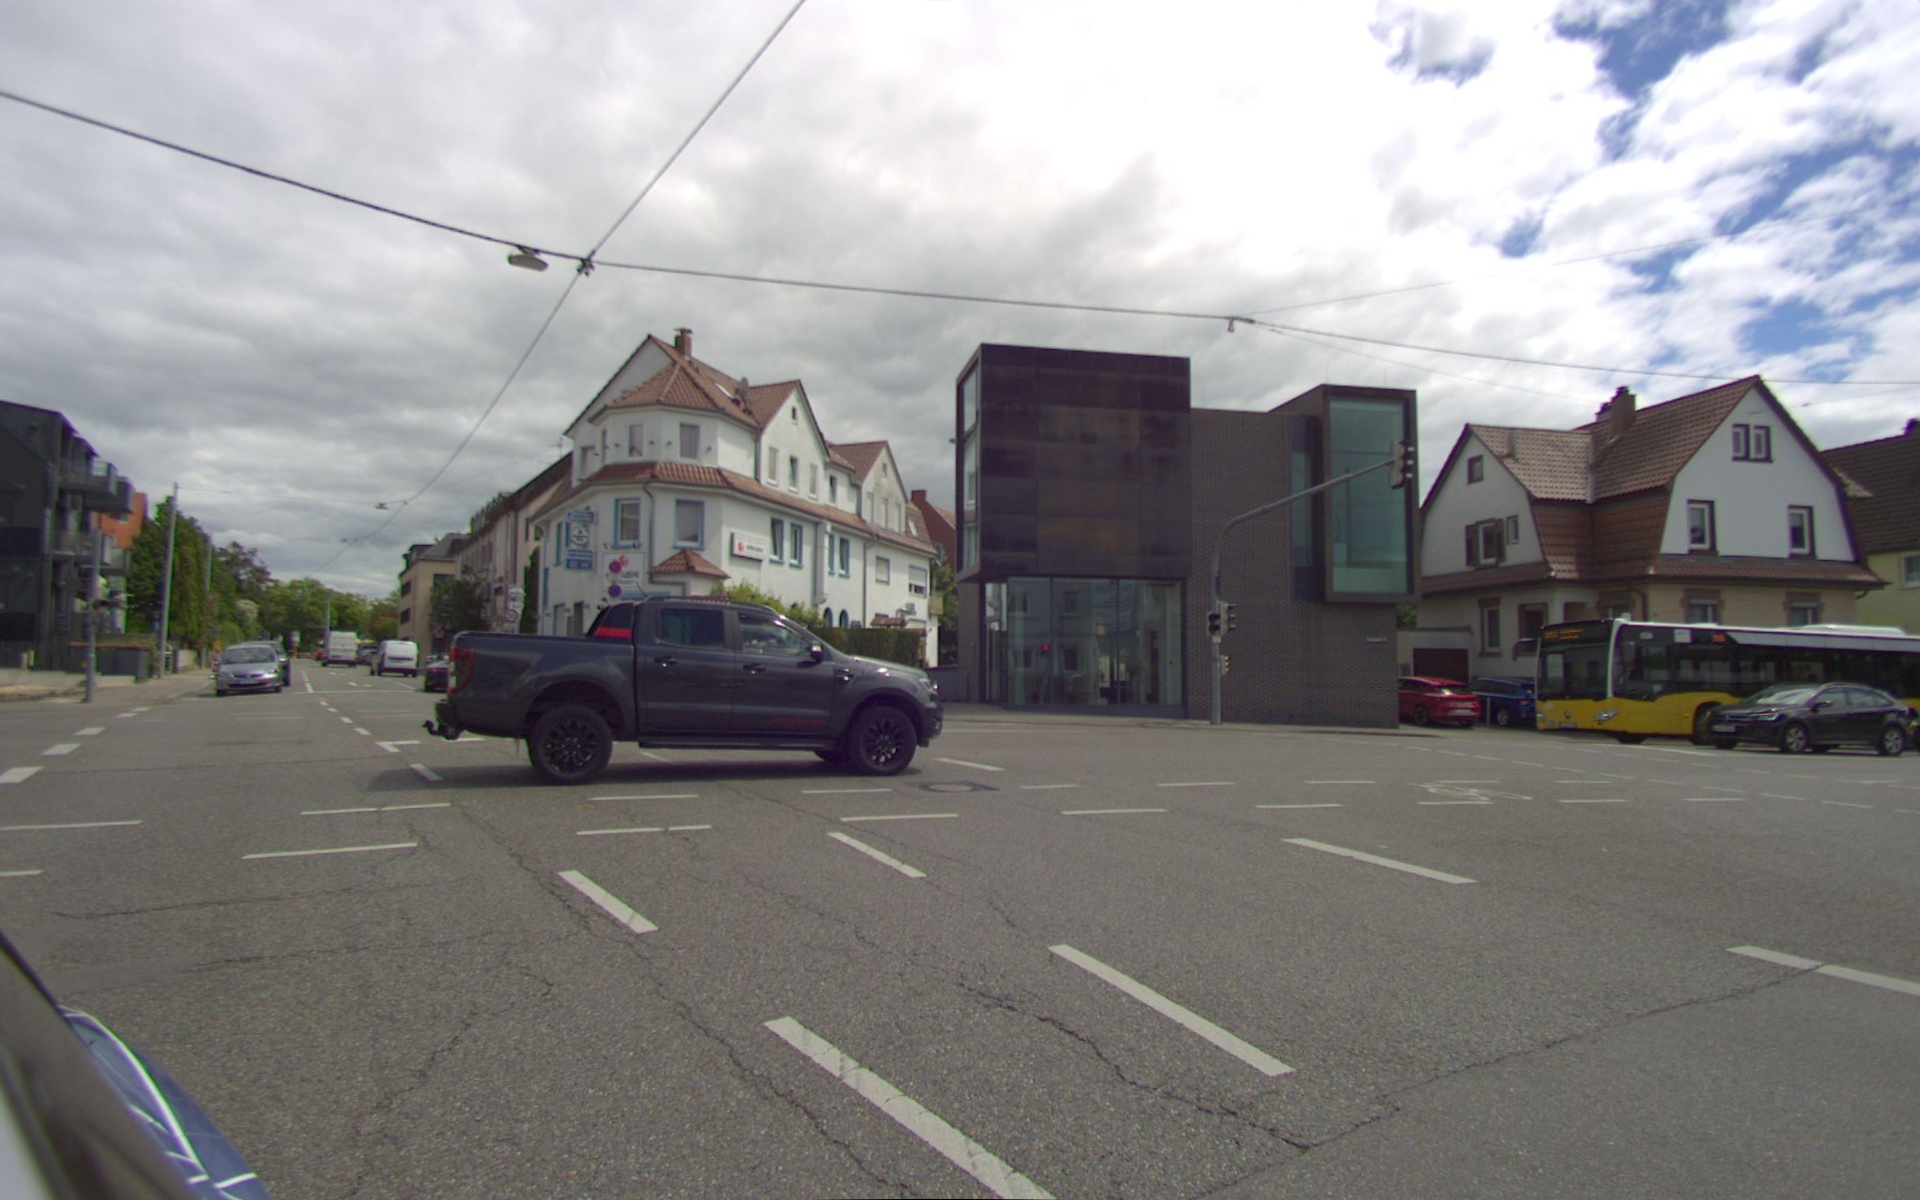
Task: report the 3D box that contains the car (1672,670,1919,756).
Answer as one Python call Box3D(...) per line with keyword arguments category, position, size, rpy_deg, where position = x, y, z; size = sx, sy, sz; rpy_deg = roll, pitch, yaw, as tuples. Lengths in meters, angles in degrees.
Box3D(category="car", position=(17.807, 2.385, 21.605), size=(3.935, 1.652, 2.004), rpy_deg=(2, -3, -9))

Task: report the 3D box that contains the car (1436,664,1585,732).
Box3D(category="car", position=(17.602, 3.098, 32.588), size=(1.967, 1.696, 4.011), rpy_deg=(2, 1, -13))

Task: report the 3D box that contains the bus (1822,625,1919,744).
Box3D(category="bus", position=(28.031, 2.277, 26.827), size=(9.040, 2.937, 2.793), rpy_deg=(2, -3, -11))

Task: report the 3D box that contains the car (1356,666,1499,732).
Box3D(category="car", position=(14.667, 3.076, 31.992), size=(1.967, 1.652, 4.011), rpy_deg=(2, 0, -14))

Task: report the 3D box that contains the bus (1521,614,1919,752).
Box3D(category="bus", position=(19.005, 2.077, 25.224), size=(9.040, 3.084, 2.793), rpy_deg=(2, -3, -11))

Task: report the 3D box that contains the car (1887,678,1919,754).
Box3D(category="car", position=(23.127, 2.593, 22.164), size=(4.116, 1.652, 2.004), rpy_deg=(2, -3, -9))

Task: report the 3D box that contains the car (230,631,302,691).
Box3D(category="car", position=(-25.319, 2.217, 36.976), size=(1.966, 2.029, 4.010), rpy_deg=(3, -4, -34))

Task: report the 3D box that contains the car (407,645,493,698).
Box3D(category="car", position=(-16.688, 2.302, 33.043), size=(1.966, 1.541, 4.011), rpy_deg=(7, -6, -32))

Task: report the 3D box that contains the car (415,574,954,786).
Box3D(category="car", position=(-2.811, 0.857, 10.831), size=(5.130, 1.863, 1.894), rpy_deg=(3, -4, -24))

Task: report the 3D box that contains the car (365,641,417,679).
Box3D(category="car", position=(-29.511, 3.139, 52.446), size=(1.792, 1.826, 4.429), rpy_deg=(4, -6, -35))

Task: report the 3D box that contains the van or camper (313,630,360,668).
Box3D(category="van or camper", position=(-46.121, 3.633, 74.855), size=(2.080, 2.606, 5.655), rpy_deg=(7, -7, -38))

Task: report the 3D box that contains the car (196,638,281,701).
Box3D(category="car", position=(-22.339, 2.136, 31.478), size=(1.967, 1.696, 4.010), rpy_deg=(-3, -1, -34))
